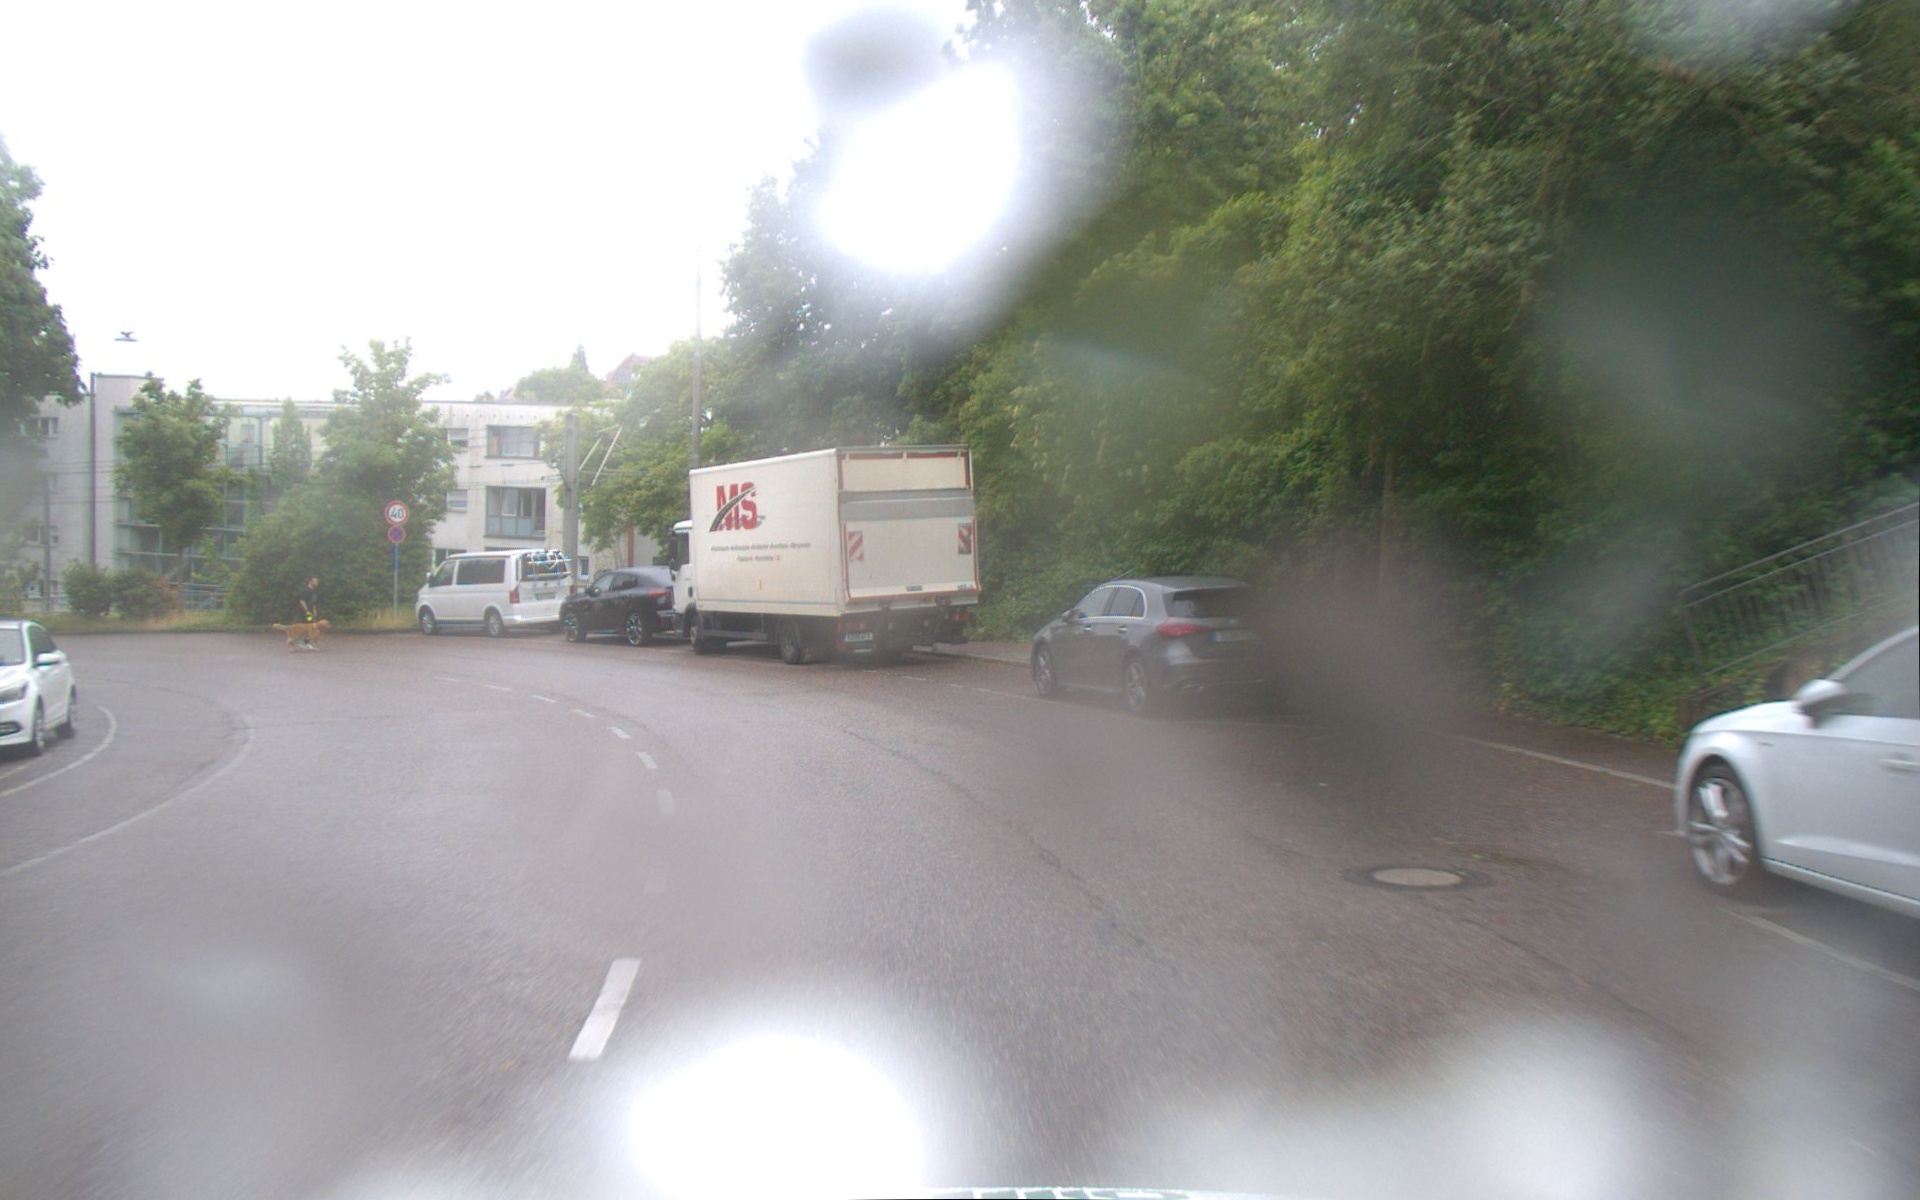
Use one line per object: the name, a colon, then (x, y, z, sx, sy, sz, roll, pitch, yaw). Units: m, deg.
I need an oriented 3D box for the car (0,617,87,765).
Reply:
car: (-11.216, 0.997, 18.818, 1.727, 1.482, 4.021, -3, 1, -21)

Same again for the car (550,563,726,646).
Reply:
car: (-6.976, 0.073, 35.596, 1.710, 1.582, 4.210, -5, 4, -42)

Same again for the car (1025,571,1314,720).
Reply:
car: (2.272, 0.425, 19.086, 1.694, 1.469, 4.103, -2, 2, -18)

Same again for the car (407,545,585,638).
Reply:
car: (-11.303, -0.212, 40.131, 4.606, 2.048, 1.873, 0, 4, 41)

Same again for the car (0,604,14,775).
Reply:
car: (-9.438, 0.844, 13.896, 1.776, 1.610, 4.003, -2, 0, -19)

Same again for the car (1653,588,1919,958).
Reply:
car: (4.627, 0.700, 6.635, 1.720, 1.425, 4.092, 1, 1, -5)

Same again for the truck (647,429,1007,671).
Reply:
truck: (-2.673, -0.881, 29.641, 2.977, 3.635, 8.250, -5, 3, -30)

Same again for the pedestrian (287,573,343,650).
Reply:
pedestrian: (-14.937, 0.252, 38.334, 0.904, 1.689, 0.805, -3, 4, -5)
